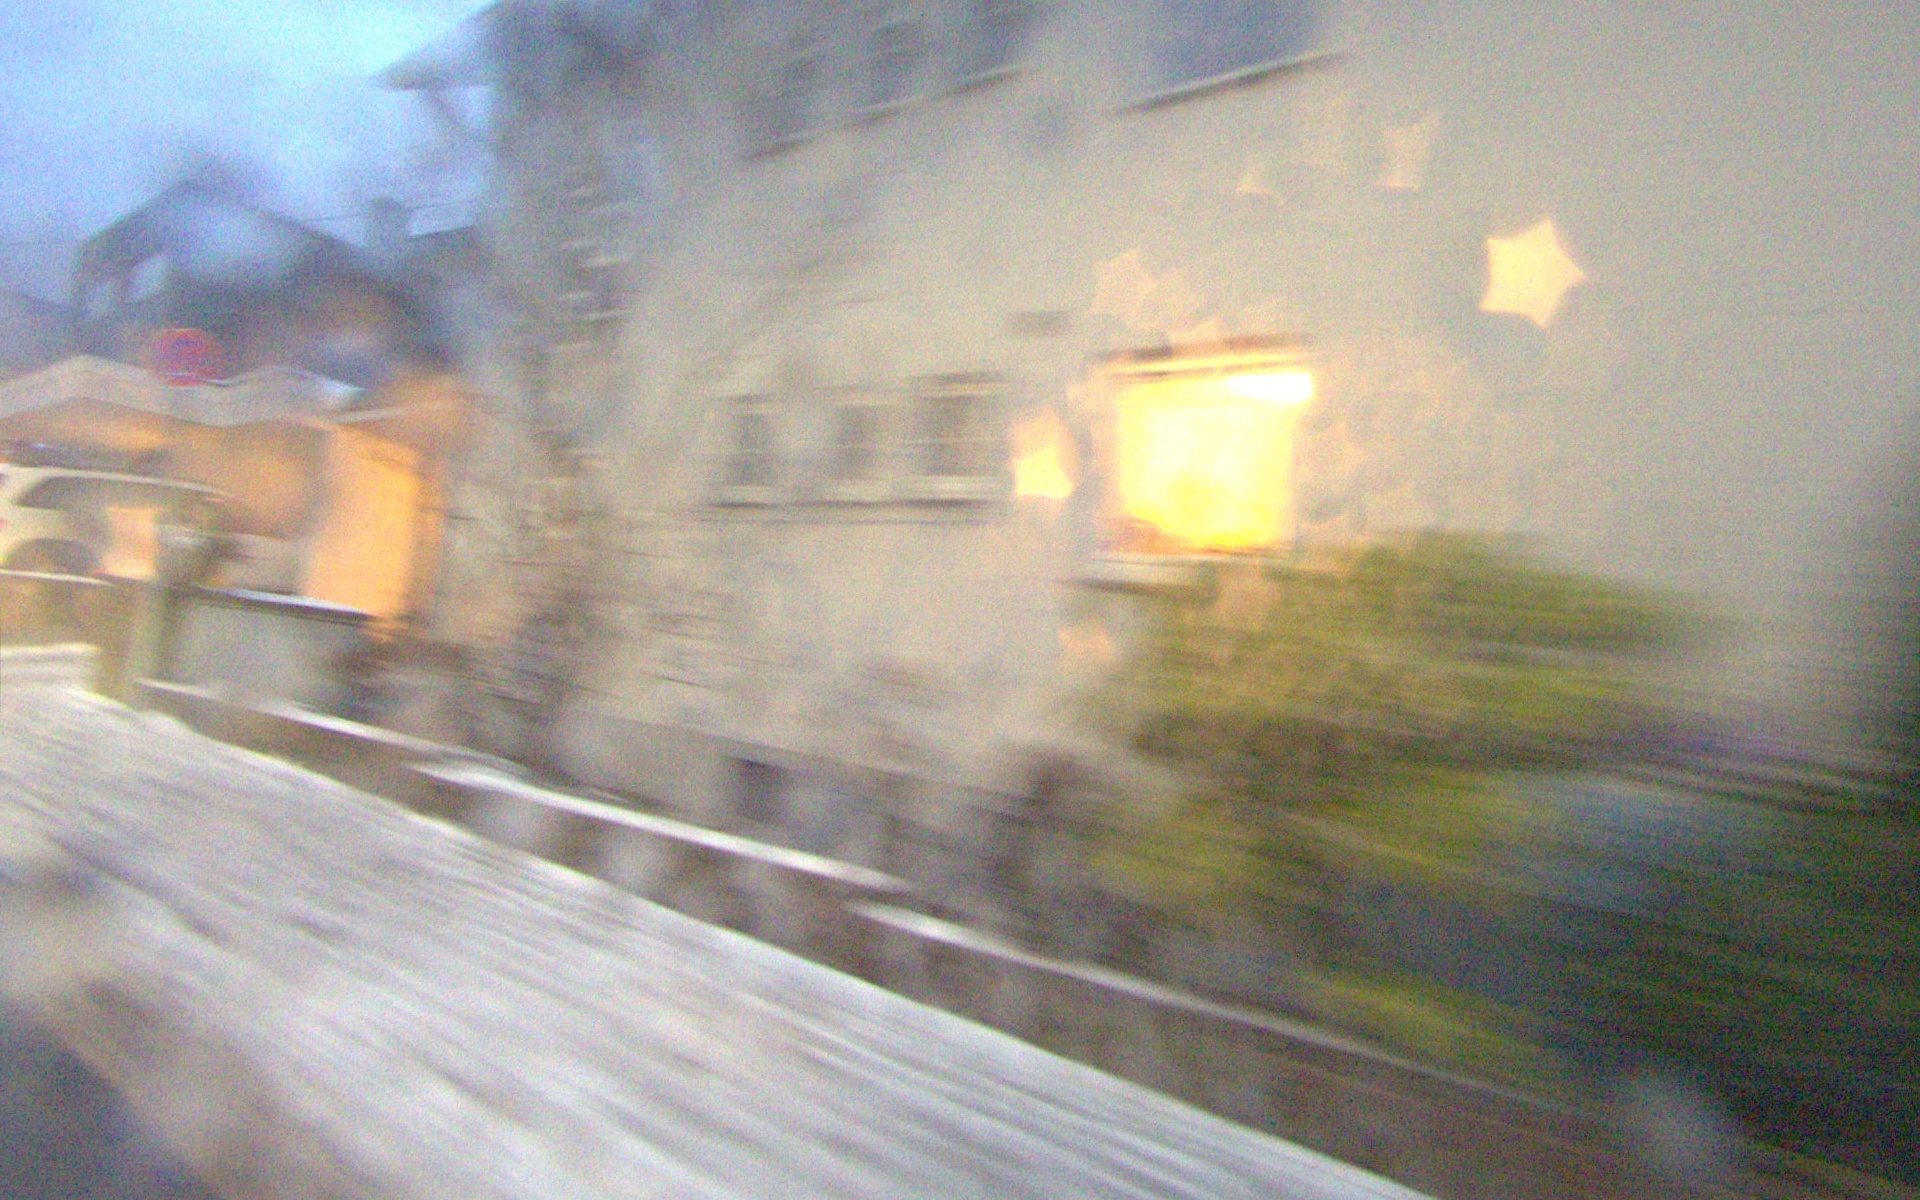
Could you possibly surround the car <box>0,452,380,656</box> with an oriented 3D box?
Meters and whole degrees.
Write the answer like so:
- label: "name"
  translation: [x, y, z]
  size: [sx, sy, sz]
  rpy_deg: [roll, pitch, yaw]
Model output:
- label: "car"
  translation: [-9.735, -0.487, 12.145]
  size: [1.882, 1.880, 4.208]
  rpy_deg: [6, -2, 36]
